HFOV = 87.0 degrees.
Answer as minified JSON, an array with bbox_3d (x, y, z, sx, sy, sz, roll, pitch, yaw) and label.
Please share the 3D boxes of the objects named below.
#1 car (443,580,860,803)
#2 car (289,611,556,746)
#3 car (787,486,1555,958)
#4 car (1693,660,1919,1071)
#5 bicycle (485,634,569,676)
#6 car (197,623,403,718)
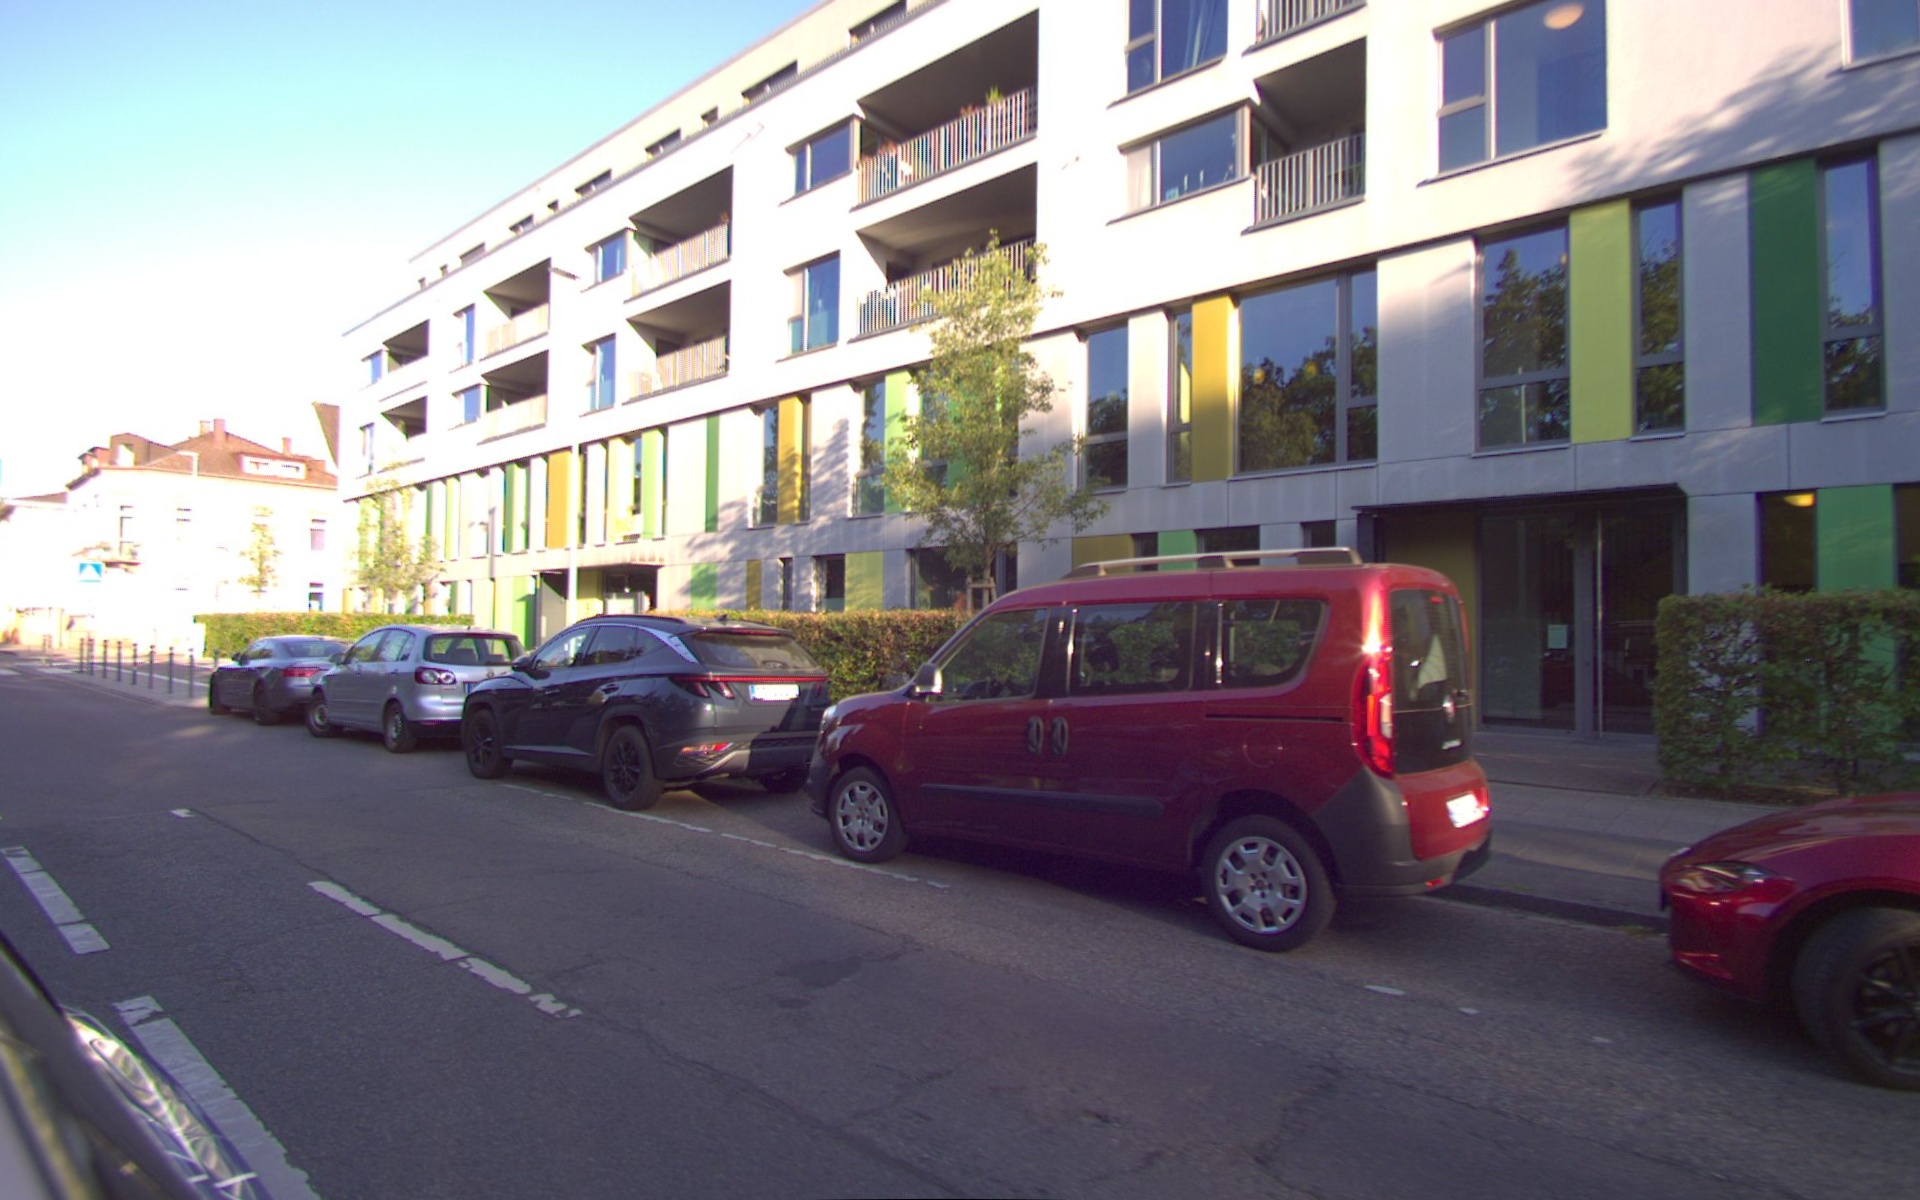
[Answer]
[{"bbox_3d":[-3.128,0.791,9.762,4.413,1.689,1.724,-2,-4,41],"label":"car"},{"bbox_3d":[-7.302,0.967,13.606,4.112,1.545,1.724,-2,-3,40],"label":"car"},{"bbox_3d":[1.023,0.585,6.169,4.235,1.904,1.789,-2,-4,41],"label":"car"},{"bbox_3d":[4.531,0.851,2.972,3.730,1.290,1.540,-2,-4,41],"label":"car"},{"bbox_3d":[-10.184,1.284,23.854,0.617,0.925,1.734,-1,-1,39],"label":"bicycle"},{"bbox_3d":[-11.006,1.091,16.758,4.395,1.367,1.723,-1,-3,42],"label":"car"}]
